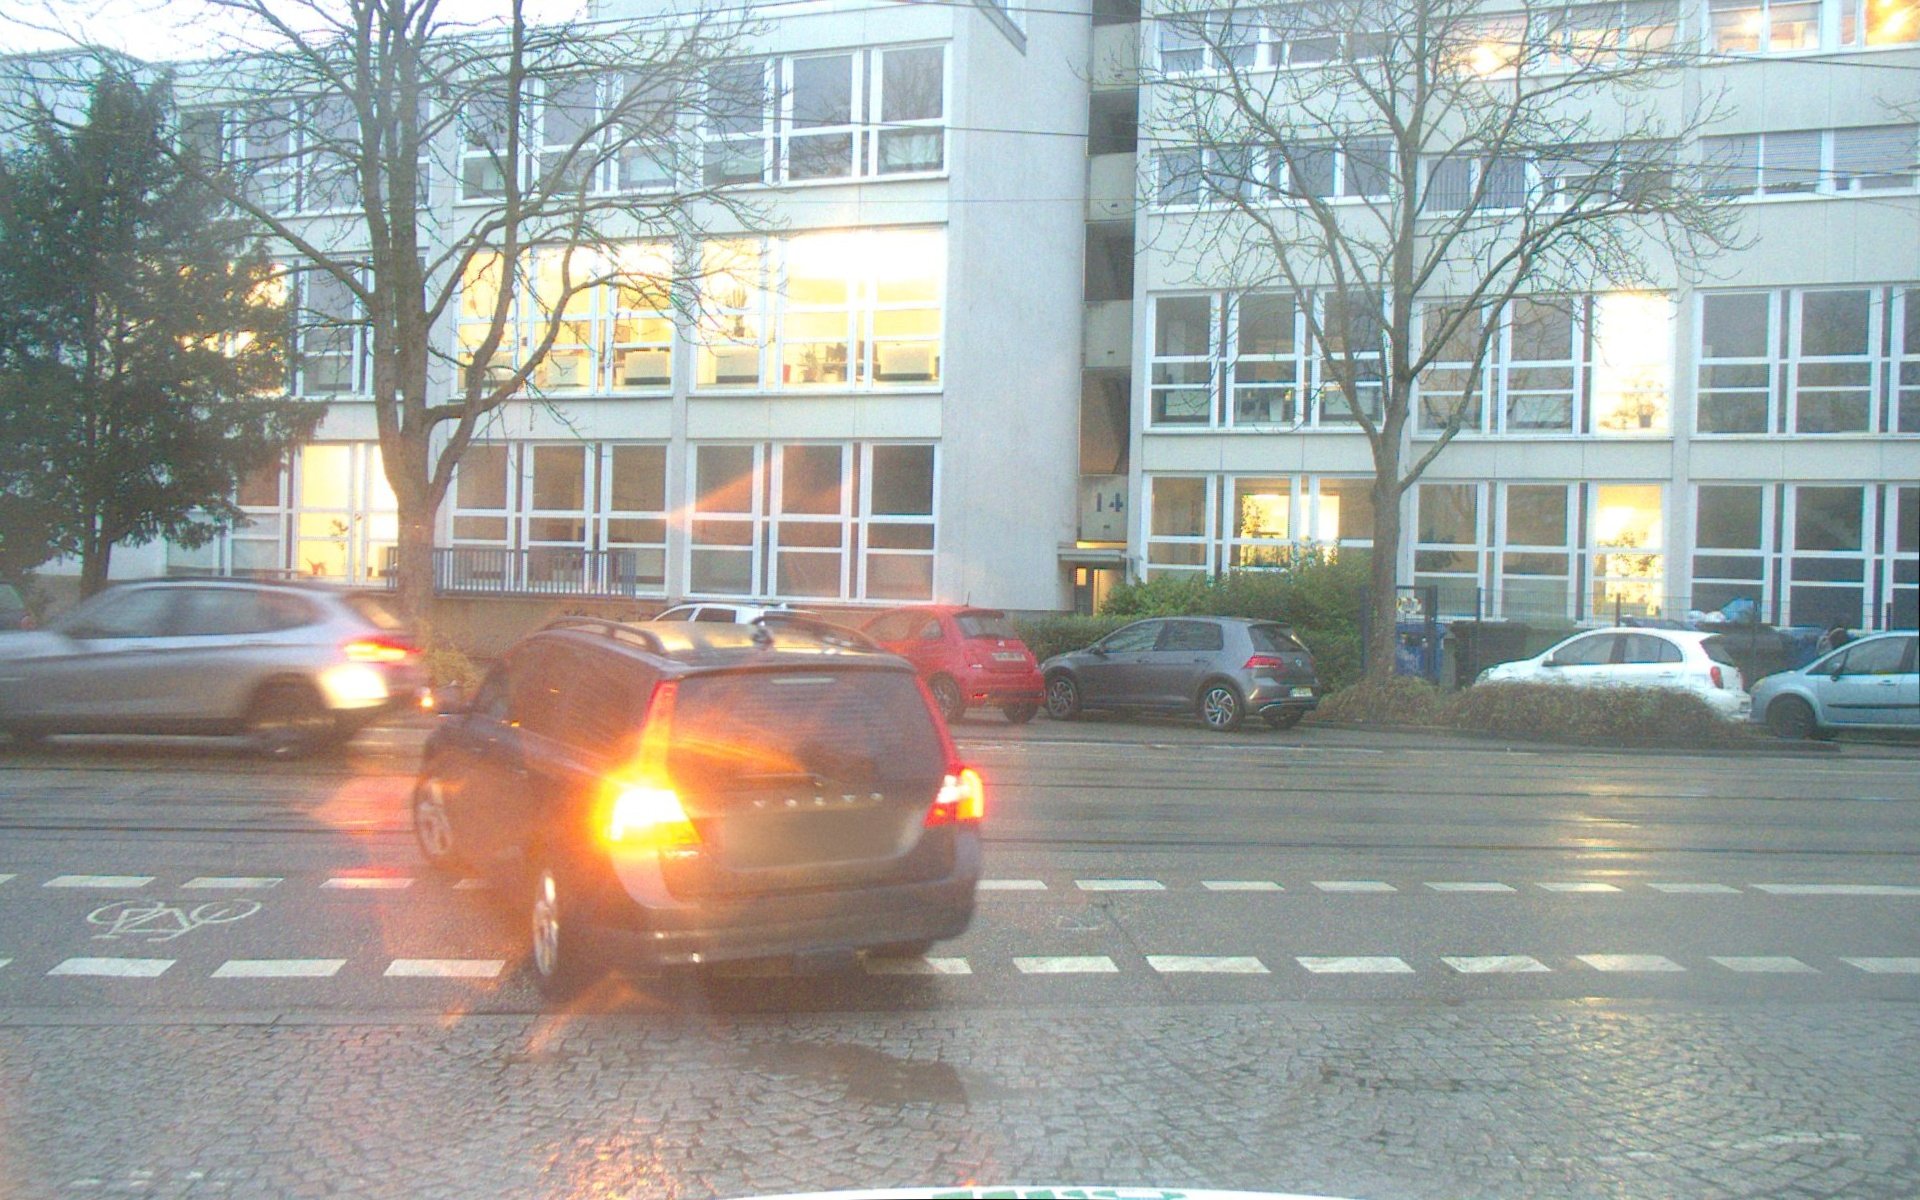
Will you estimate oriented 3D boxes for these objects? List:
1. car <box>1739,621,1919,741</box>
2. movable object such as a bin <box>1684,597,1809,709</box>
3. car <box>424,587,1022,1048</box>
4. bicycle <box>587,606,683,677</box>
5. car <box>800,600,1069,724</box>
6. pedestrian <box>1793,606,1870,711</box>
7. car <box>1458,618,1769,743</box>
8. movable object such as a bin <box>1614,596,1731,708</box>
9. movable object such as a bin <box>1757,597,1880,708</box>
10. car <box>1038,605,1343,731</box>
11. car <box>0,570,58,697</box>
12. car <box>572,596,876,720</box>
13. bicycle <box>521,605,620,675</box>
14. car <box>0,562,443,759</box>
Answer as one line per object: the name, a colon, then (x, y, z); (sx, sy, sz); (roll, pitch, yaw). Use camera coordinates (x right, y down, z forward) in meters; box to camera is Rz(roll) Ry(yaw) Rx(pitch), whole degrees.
car: (13.325, 1.129, 23.309); (3.929, 1.591, 1.726); (1, 0, 42)
movable object such as a bin: (13.707, 0.899, 28.872); (1.362, 1.892, 1.573); (0, 0, -5)
car: (-1.450, 0.768, 8.174); (1.726, 1.571, 4.260); (1, 1, -26)
bicycle: (-5.469, 0.683, 27.990); (0.626, 1.140, 2.207); (1, 0, 16)
car: (-0.386, 0.782, 22.336); (3.390, 1.519, 1.719); (1, 0, 42)
pedestrian: (14.414, 0.966, 27.356); (0.951, 1.706, 0.598); (1, -1, -7)
car: (9.247, 1.077, 23.546); (3.804, 1.579, 1.684); (1, 0, 39)
movable object such as a bin: (12.348, 0.877, 28.722); (1.288, 1.892, 1.573); (0, 0, -5)
movable object such as a bin: (15.024, 0.897, 28.996); (1.288, 1.892, 1.573); (0, 0, -5)
car: (3.067, 0.853, 22.369); (3.782, 1.519, 1.687); (1, 0, 40)
car: (-12.895, 0.367, 20.482); (3.929, 1.488, 1.845); (1, 0, 42)
car: (-3.170, 0.704, 21.907); (3.923, 1.471, 1.785); (1, 0, 38)
bicycle: (-6.637, 0.660, 28.302); (0.626, 1.140, 2.207); (1, 0, 16)
car: (-6.936, 0.513, 14.552); (4.282, 1.606, 1.710); (1, 0, -7)
